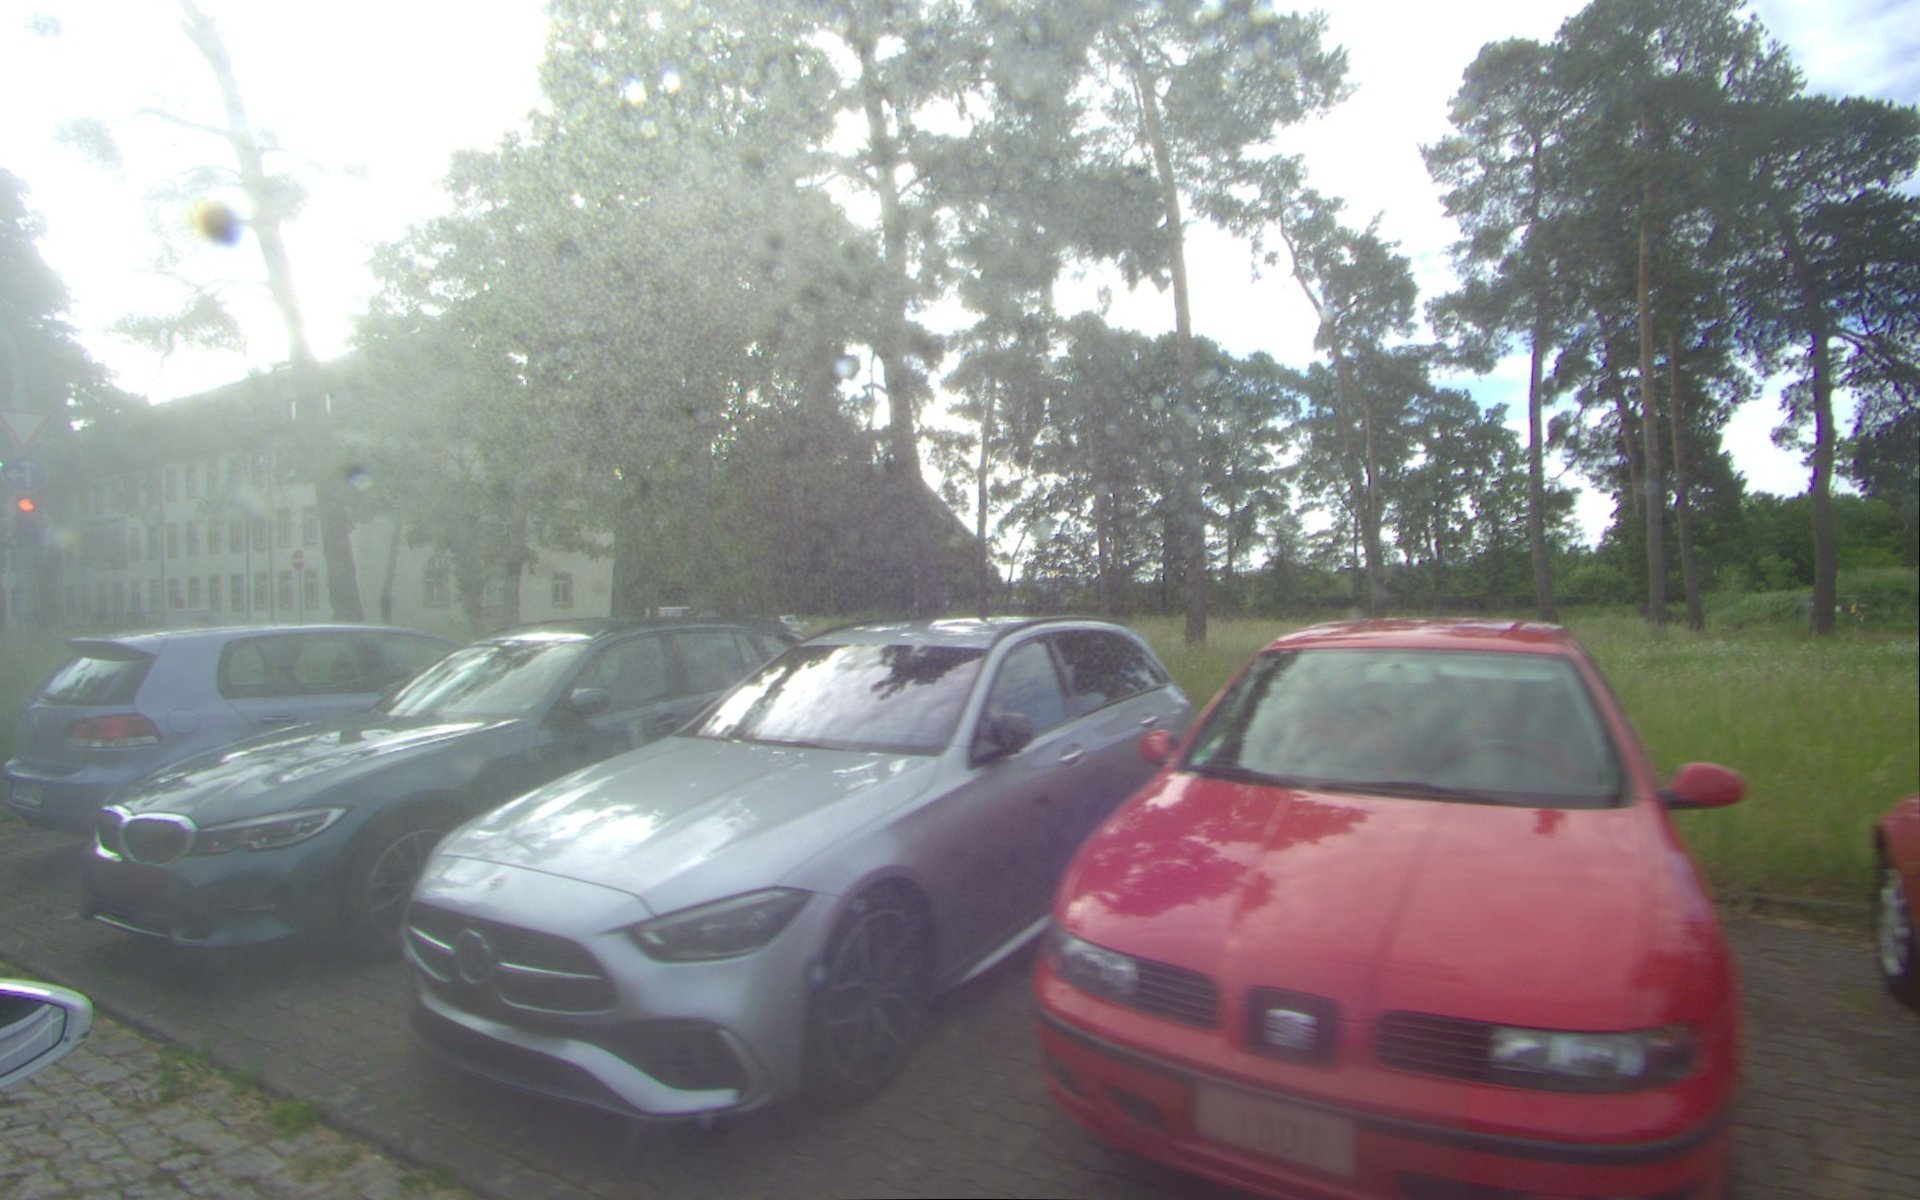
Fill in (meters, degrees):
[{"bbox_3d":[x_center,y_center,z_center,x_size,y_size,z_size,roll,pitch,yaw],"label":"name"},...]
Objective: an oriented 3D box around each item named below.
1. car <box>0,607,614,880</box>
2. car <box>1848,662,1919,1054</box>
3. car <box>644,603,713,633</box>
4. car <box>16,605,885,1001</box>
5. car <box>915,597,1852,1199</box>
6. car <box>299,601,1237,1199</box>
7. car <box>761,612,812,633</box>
[{"bbox_3d":[-4.673,0.813,7.571,1.582,1.446,3.756,0,1,31],"label":"car"},{"bbox_3d":[3.354,0.855,2.242,1.473,1.223,3.583,0,0,32],"label":"car"},{"bbox_3d":[-22.294,1.395,79.551,2.182,2.318,5.169,-1,-1,33],"label":"car"},{"bbox_3d":[-2.485,0.794,6.310,1.734,1.502,4.752,0,0,29],"label":"car"},{"bbox_3d":[1.674,0.752,3.719,1.774,1.471,3.954,0,0,32],"label":"car"},{"bbox_3d":[-0.216,0.777,4.901,1.786,1.502,4.748,0,0,32],"label":"car"},{"bbox_3d":[-12.900,1.647,74.526,1.972,1.527,3.474,-1,-1,33],"label":"car"}]
